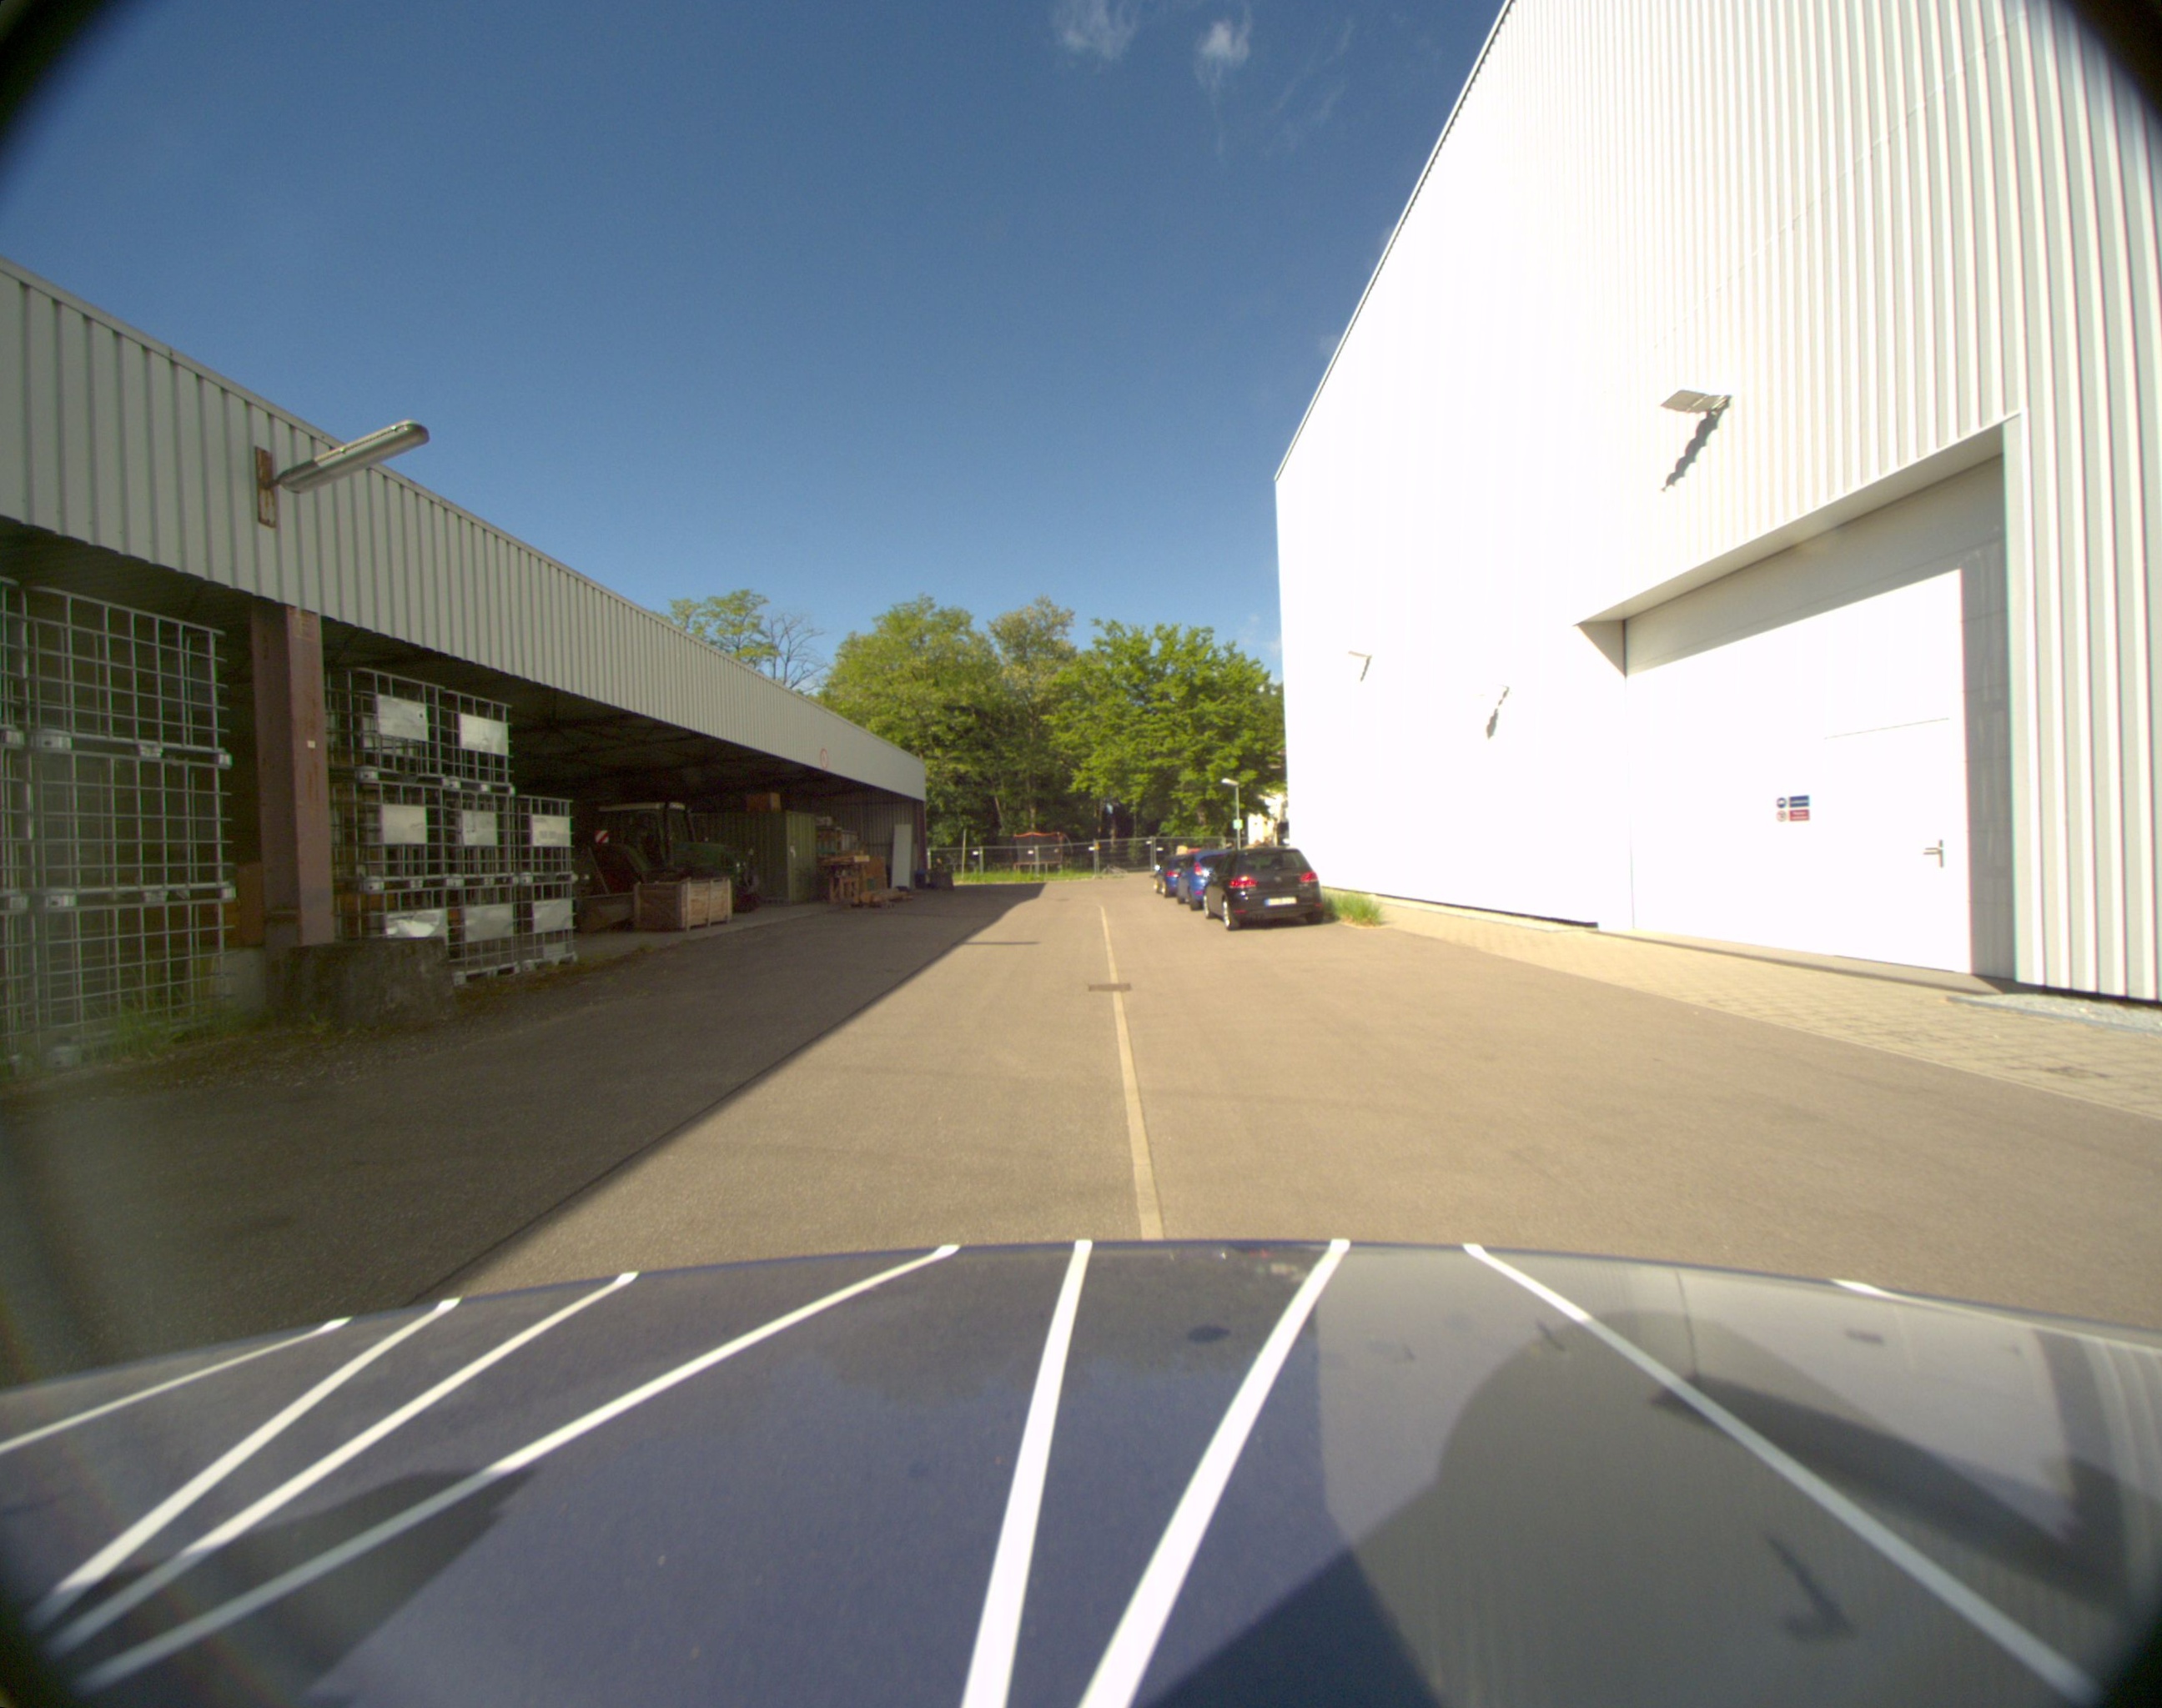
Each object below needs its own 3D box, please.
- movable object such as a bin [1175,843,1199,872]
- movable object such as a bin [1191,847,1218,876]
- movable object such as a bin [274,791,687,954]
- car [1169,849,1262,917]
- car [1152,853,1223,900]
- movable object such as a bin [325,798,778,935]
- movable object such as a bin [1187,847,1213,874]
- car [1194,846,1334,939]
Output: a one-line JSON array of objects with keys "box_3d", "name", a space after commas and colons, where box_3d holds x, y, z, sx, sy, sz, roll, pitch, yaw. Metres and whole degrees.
[{"box_3d": [6.173, 0.205, 44.234, 1.093, 1.588, 1.230, -3, 3, -5], "name": "movable object such as a bin"}, {"box_3d": [6.651, 0.388, 41.002, 1.093, 1.424, 1.230, -4, 2, -5], "name": "movable object such as a bin"}, {"box_3d": [-12.225, 0.356, 15.964, 6.200, 2.893, 3.016, -2, 1, 2], "name": "movable object such as a bin"}, {"box_3d": [3.439, 0.669, 20.107, 1.635, 1.491, 4.094, -5, 0, 0], "name": "car"}, {"box_3d": [3.478, 0.690, 25.555, 1.778, 1.353, 4.053, -3, 0, 0], "name": "car"}, {"box_3d": [-12.985, 0.295, 19.279, 9.214, 2.893, 3.212, -2, 1, 2], "name": "movable object such as a bin"}, {"box_3d": [6.629, 0.345, 42.335, 1.093, 1.431, 1.230, -4, 2, -5], "name": "movable object such as a bin"}, {"box_3d": [3.463, 0.652, 15.210, 1.759, 1.491, 4.294, -4, 0, 1], "name": "car"}]
